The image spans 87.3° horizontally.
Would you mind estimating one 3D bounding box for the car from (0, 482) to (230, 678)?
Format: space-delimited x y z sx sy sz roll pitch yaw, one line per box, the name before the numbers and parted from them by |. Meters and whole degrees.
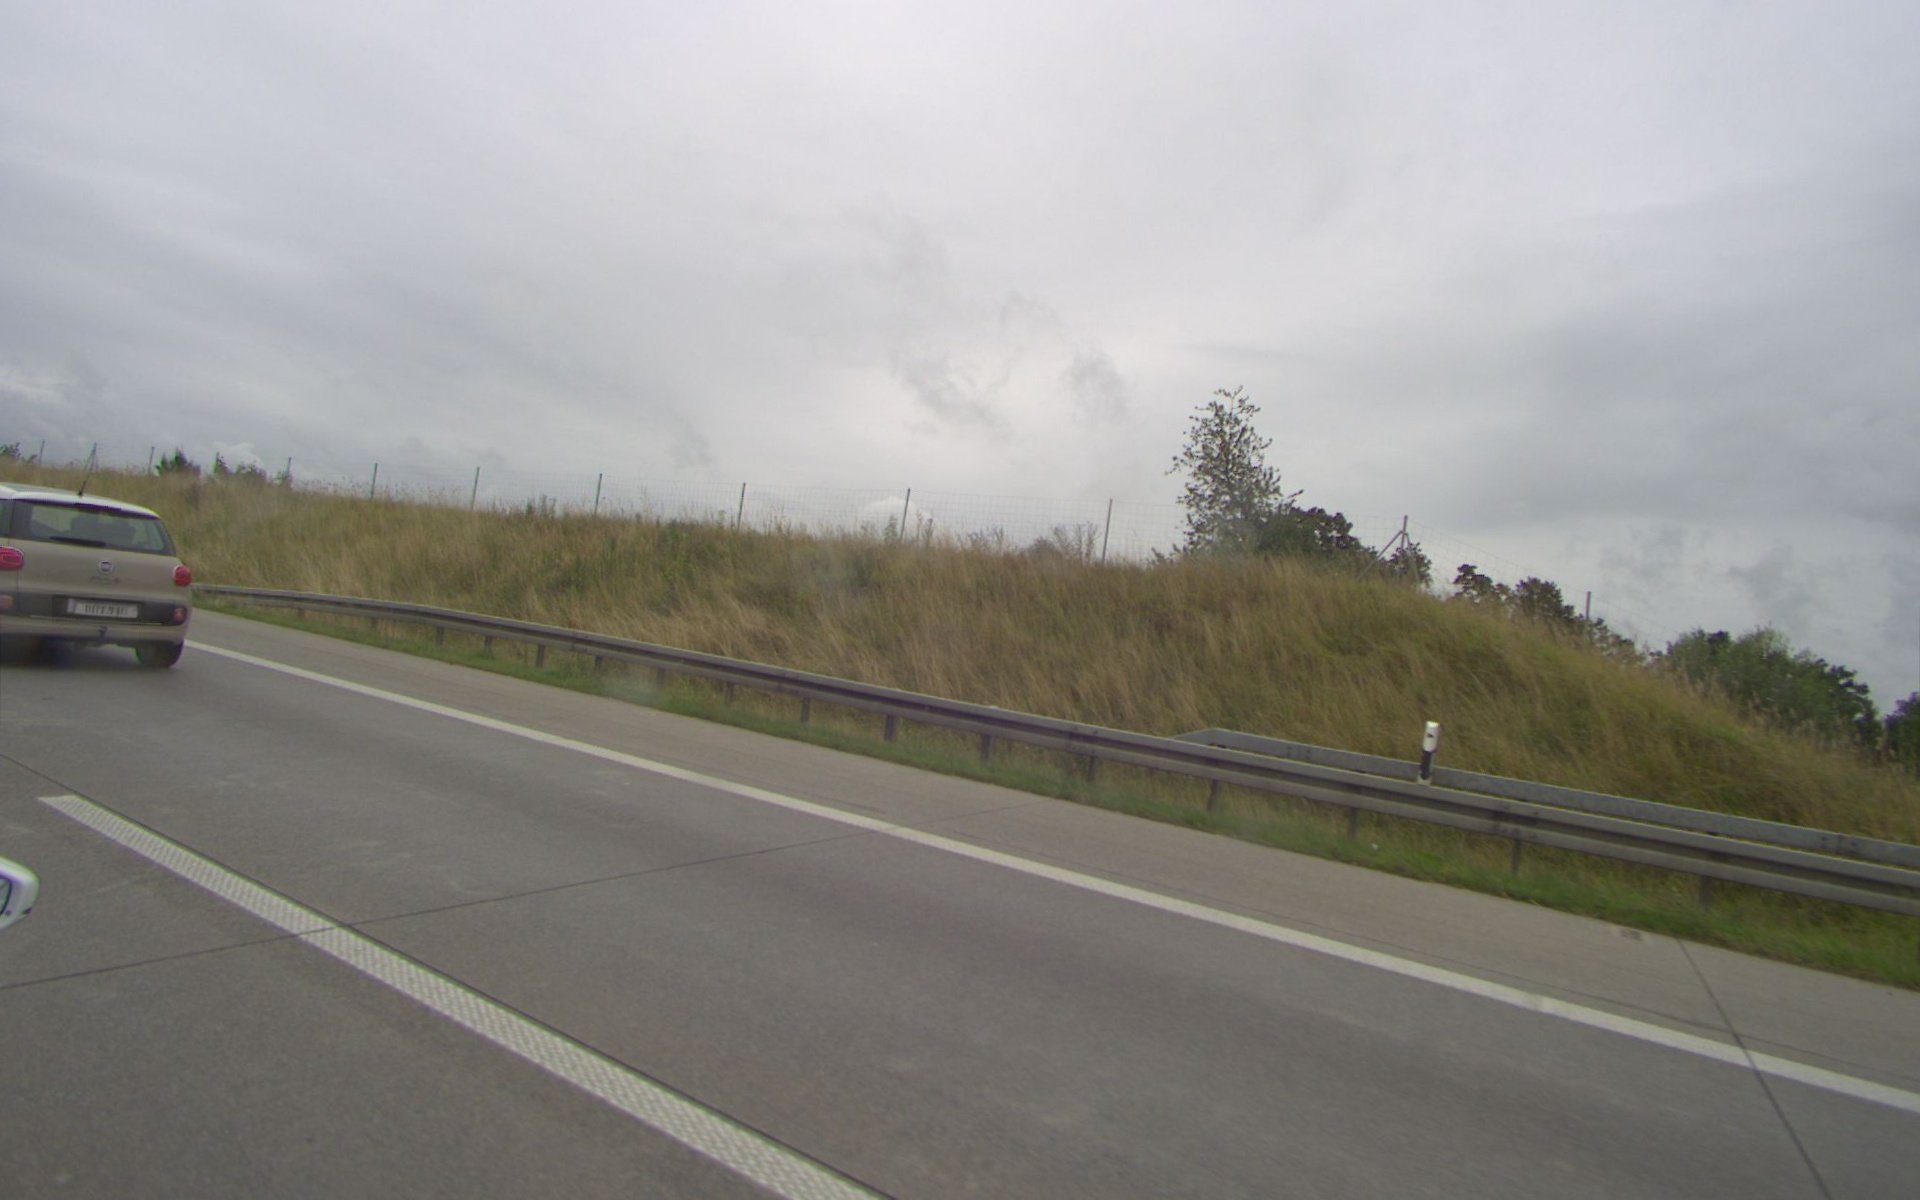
car | -9.729 -0.336 10.397 4.494 1.623 1.789 7 -2 31
